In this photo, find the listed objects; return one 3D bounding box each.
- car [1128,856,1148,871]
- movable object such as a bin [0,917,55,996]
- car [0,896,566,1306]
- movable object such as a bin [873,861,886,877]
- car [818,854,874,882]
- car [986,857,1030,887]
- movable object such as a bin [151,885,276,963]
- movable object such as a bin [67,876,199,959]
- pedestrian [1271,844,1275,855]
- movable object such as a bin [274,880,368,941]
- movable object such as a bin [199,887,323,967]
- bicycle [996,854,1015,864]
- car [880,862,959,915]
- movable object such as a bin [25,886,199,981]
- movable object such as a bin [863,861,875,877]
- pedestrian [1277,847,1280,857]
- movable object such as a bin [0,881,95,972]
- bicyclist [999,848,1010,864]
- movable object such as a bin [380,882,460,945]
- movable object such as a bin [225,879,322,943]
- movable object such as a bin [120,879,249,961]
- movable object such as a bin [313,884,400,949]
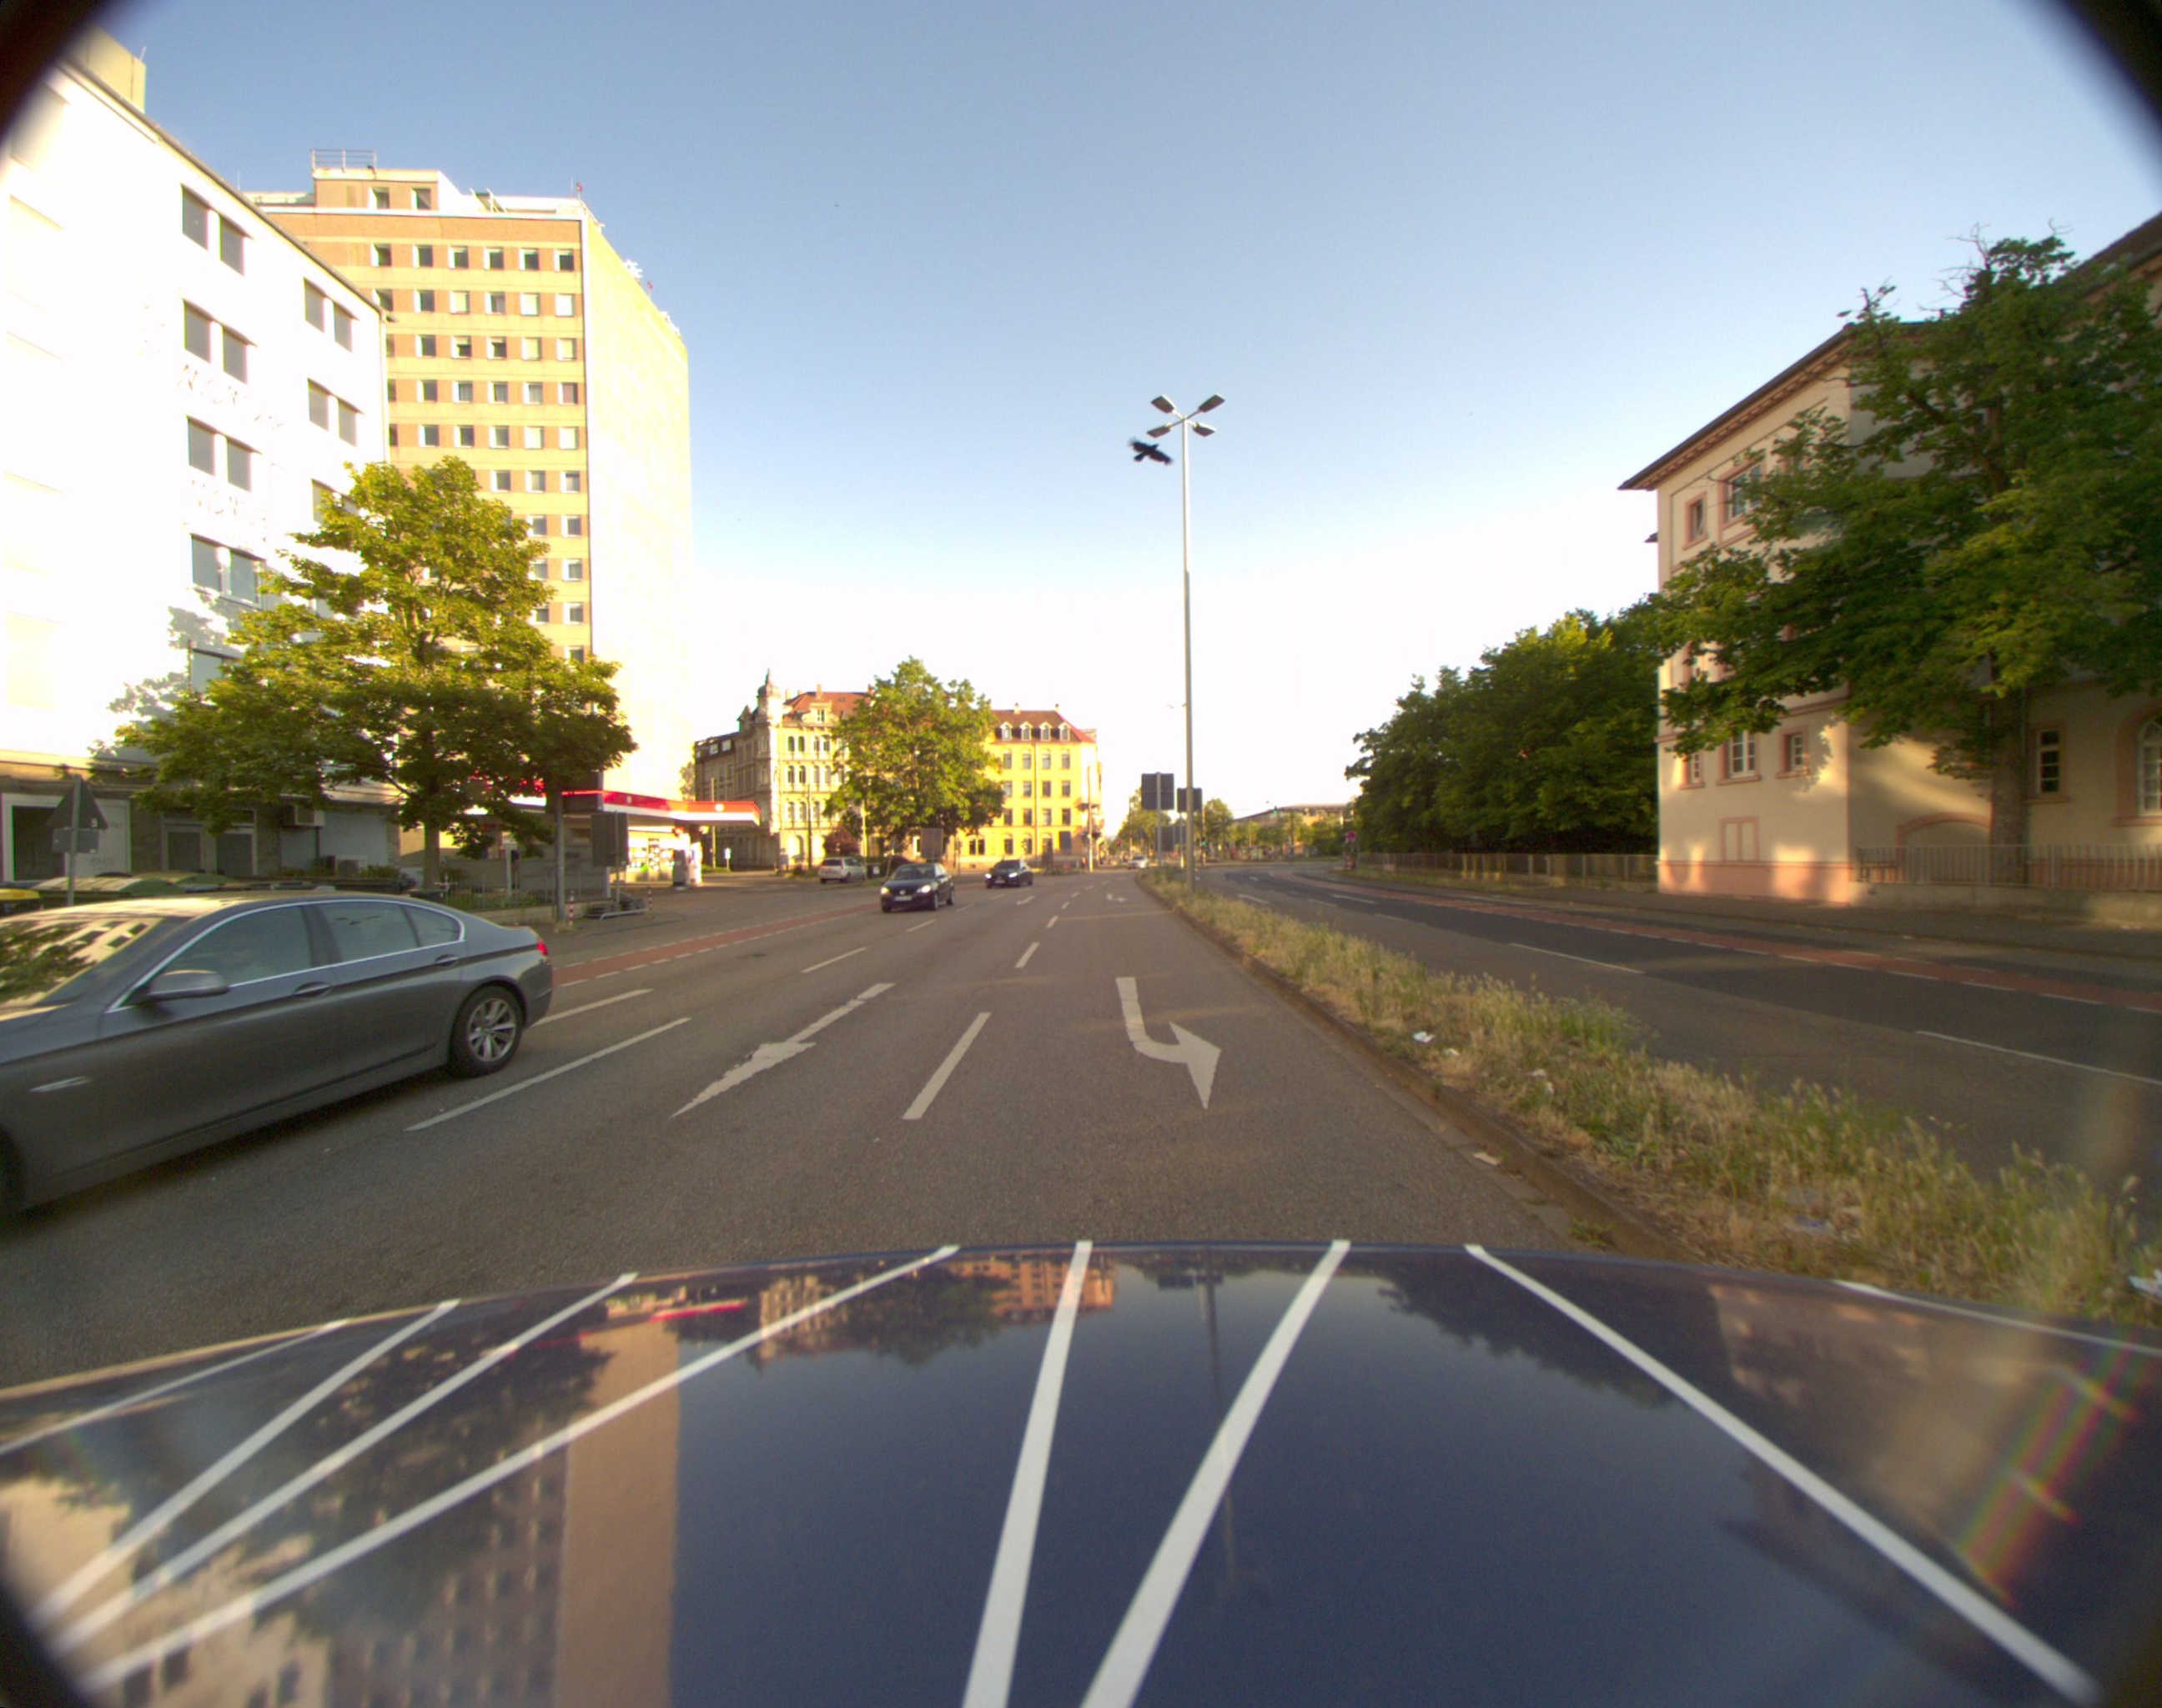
[{"bbox_3d":[5.974,1.010,78.954,1.673,1.410,4.443,-2,0,8],"label":"car"},{"bbox_3d":[-15.510,1.460,10.738,0.853,1.039,0.819,-1,1,-4],"label":"movable object such as a bin"},{"bbox_3d":[-5.289,1.117,4.148,1.820,1.441,4.665,-2,0,-2],"label":"car"},{"bbox_3d":[-13.142,0.985,49.546,0.544,1.013,0.688,-1,1,5],"label":"movable object such as a bin"},{"bbox_3d":[-13.948,0.829,45.267,1.688,1.508,3.798,-1,1,8],"label":"car"},{"bbox_3d":[-3.776,0.920,40.090,1.731,1.441,4.046,-2,0,2],"label":"car"},{"bbox_3d":[-16.036,1.272,14.086,0.956,1.320,1.162,-1,1,-2],"label":"movable object such as a bin"},{"bbox_3d":[-18.295,1.189,14.709,1.034,1.490,1.162,-1,1,-2],"label":"movable object such as a bin"},{"bbox_3d":[34.700,-0.835,137.626,0.556,2.002,0.664,-1,1,1],"label":"pedestrian"},{"bbox_3d":[-16.929,1.236,16.951,0.956,1.276,1.098,-1,1,-2],"label":"movable object such as a bin"},{"bbox_3d":[-14.931,1.307,13.880,0.956,1.320,1.162,-1,1,-2],"label":"movable object such as a bin"},{"bbox_3d":[-7.726,0.526,77.709,1.927,1.053,0.451,-1,1,-7],"label":"bicycle"},{"bbox_3d":[-5.048,1.030,24.160,1.584,1.441,3.872,-2,0,1],"label":"car"},{"bbox_3d":[-15.809,1.264,12.450,1.351,1.415,1.105,-1,1,-4],"label":"movable object such as a bin"},{"bbox_3d":[-13.862,1.000,49.757,0.544,1.013,0.688,-1,1,5],"label":"movable object such as a bin"},{"bbox_3d":[34.970,-0.376,134.537,0.467,1.695,0.419,-1,1,1],"label":"pedestrian"},{"bbox_3d":[-18.686,1.260,13.397,1.034,1.490,1.162,-1,1,-2],"label":"movable object such as a bin"},{"bbox_3d":[-7.812,0.172,77.877,1.065,1.639,0.732,-1,1,-7],"label":"bicyclist"},{"bbox_3d":[-14.875,1.331,17.129,0.956,1.320,0.953,-1,1,-2],"label":"movable object such as a bin"},{"bbox_3d":[-17.926,1.249,16.908,0.956,1.320,1.098,-1,1,-2],"label":"movable object such as a bin"},{"bbox_3d":[-17.120,1.238,14.555,1.034,1.440,1.162,-1,1,-2],"label":"movable object such as a bin"},{"bbox_3d":[-15.881,1.348,16.690,0.956,1.320,0.953,-1,1,-2],"label":"movable object such as a bin"}]
